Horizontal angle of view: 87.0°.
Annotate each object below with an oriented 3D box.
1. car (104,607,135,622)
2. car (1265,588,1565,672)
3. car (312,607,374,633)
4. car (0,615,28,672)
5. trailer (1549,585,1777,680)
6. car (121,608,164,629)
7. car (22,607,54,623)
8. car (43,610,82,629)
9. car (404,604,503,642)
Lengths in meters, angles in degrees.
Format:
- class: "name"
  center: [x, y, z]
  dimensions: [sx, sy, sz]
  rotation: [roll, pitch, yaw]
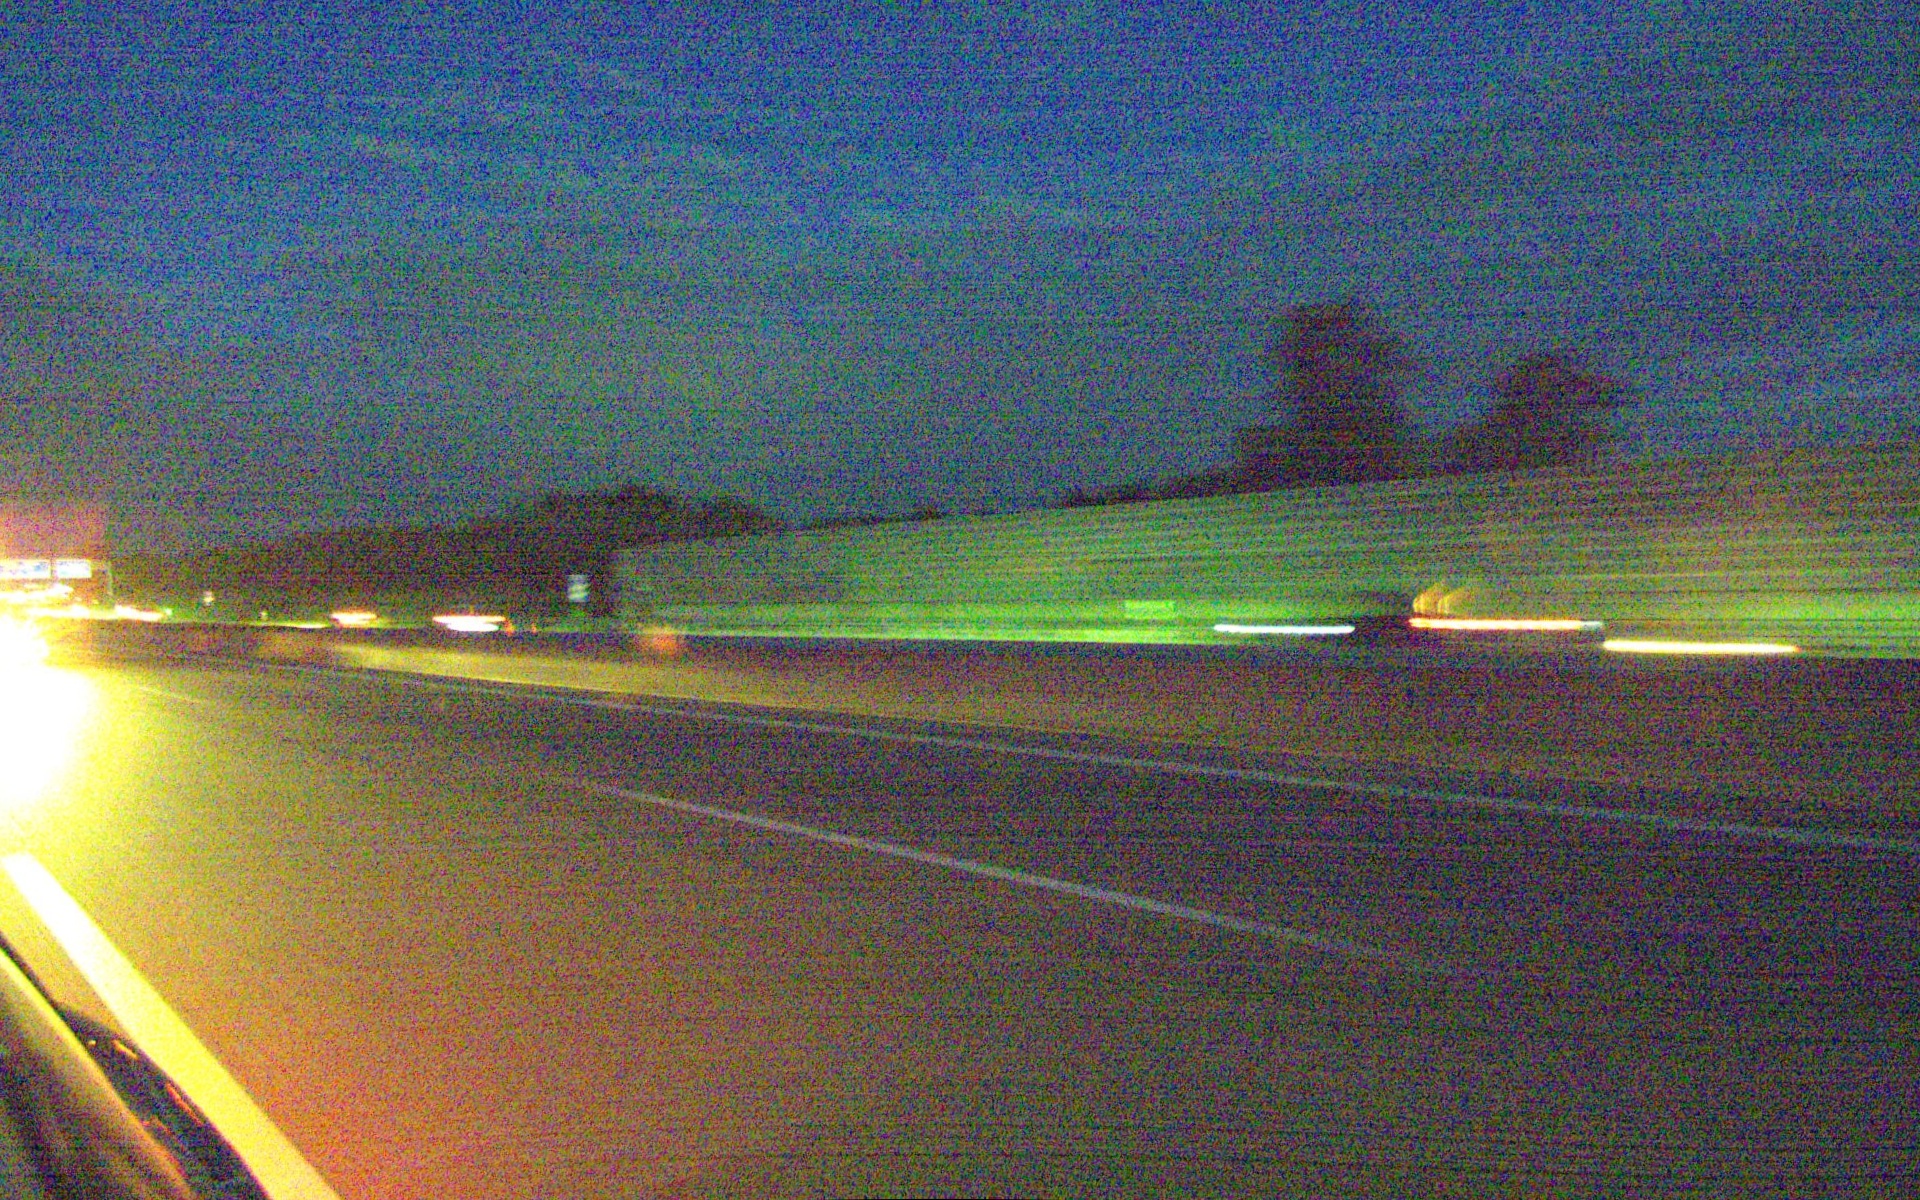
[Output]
- class: "car"
  center: [-103.297, 1.751, 124.299]
  dimensions: [5.189, 1.733, 2.097]
  rotation: [-1, 0, 41]
- class: "car"
  center: [9.256, 0.579, 20.875]
  dimensions: [5.240, 1.492, 2.161]
  rotation: [-1, 0, 41]
- class: "car"
  center: [-40.470, 1.310, 66.330]
  dimensions: [5.108, 1.567, 2.096]
  rotation: [-1, 0, 43]
- class: "car"
  center: [-28.417, 1.245, 28.913]
  dimensions: [5.647, 1.530, 1.973]
  rotation: [-2, 0, 41]
- class: "trailer"
  center: [12.496, 0.525, 18.022]
  dimensions: [3.127, 1.492, 2.161]
  rotation: [-1, 0, 41]
- class: "car"
  center: [-72.931, 1.650, 90.272]
  dimensions: [5.106, 1.710, 2.097]
  rotation: [-1, 0, 41]
- class: "car"
  center: [-108.449, 1.761, 118.981]
  dimensions: [5.623, 1.734, 2.097]
  rotation: [-1, 0, 41]
- class: "car"
  center: [-86.027, 1.831, 97.007]
  dimensions: [5.623, 1.734, 2.097]
  rotation: [-1, 0, 41]
- class: "car"
  center: [-22.353, 0.991, 44.556]
  dimensions: [5.106, 1.567, 2.097]
  rotation: [-1, 0, 41]
